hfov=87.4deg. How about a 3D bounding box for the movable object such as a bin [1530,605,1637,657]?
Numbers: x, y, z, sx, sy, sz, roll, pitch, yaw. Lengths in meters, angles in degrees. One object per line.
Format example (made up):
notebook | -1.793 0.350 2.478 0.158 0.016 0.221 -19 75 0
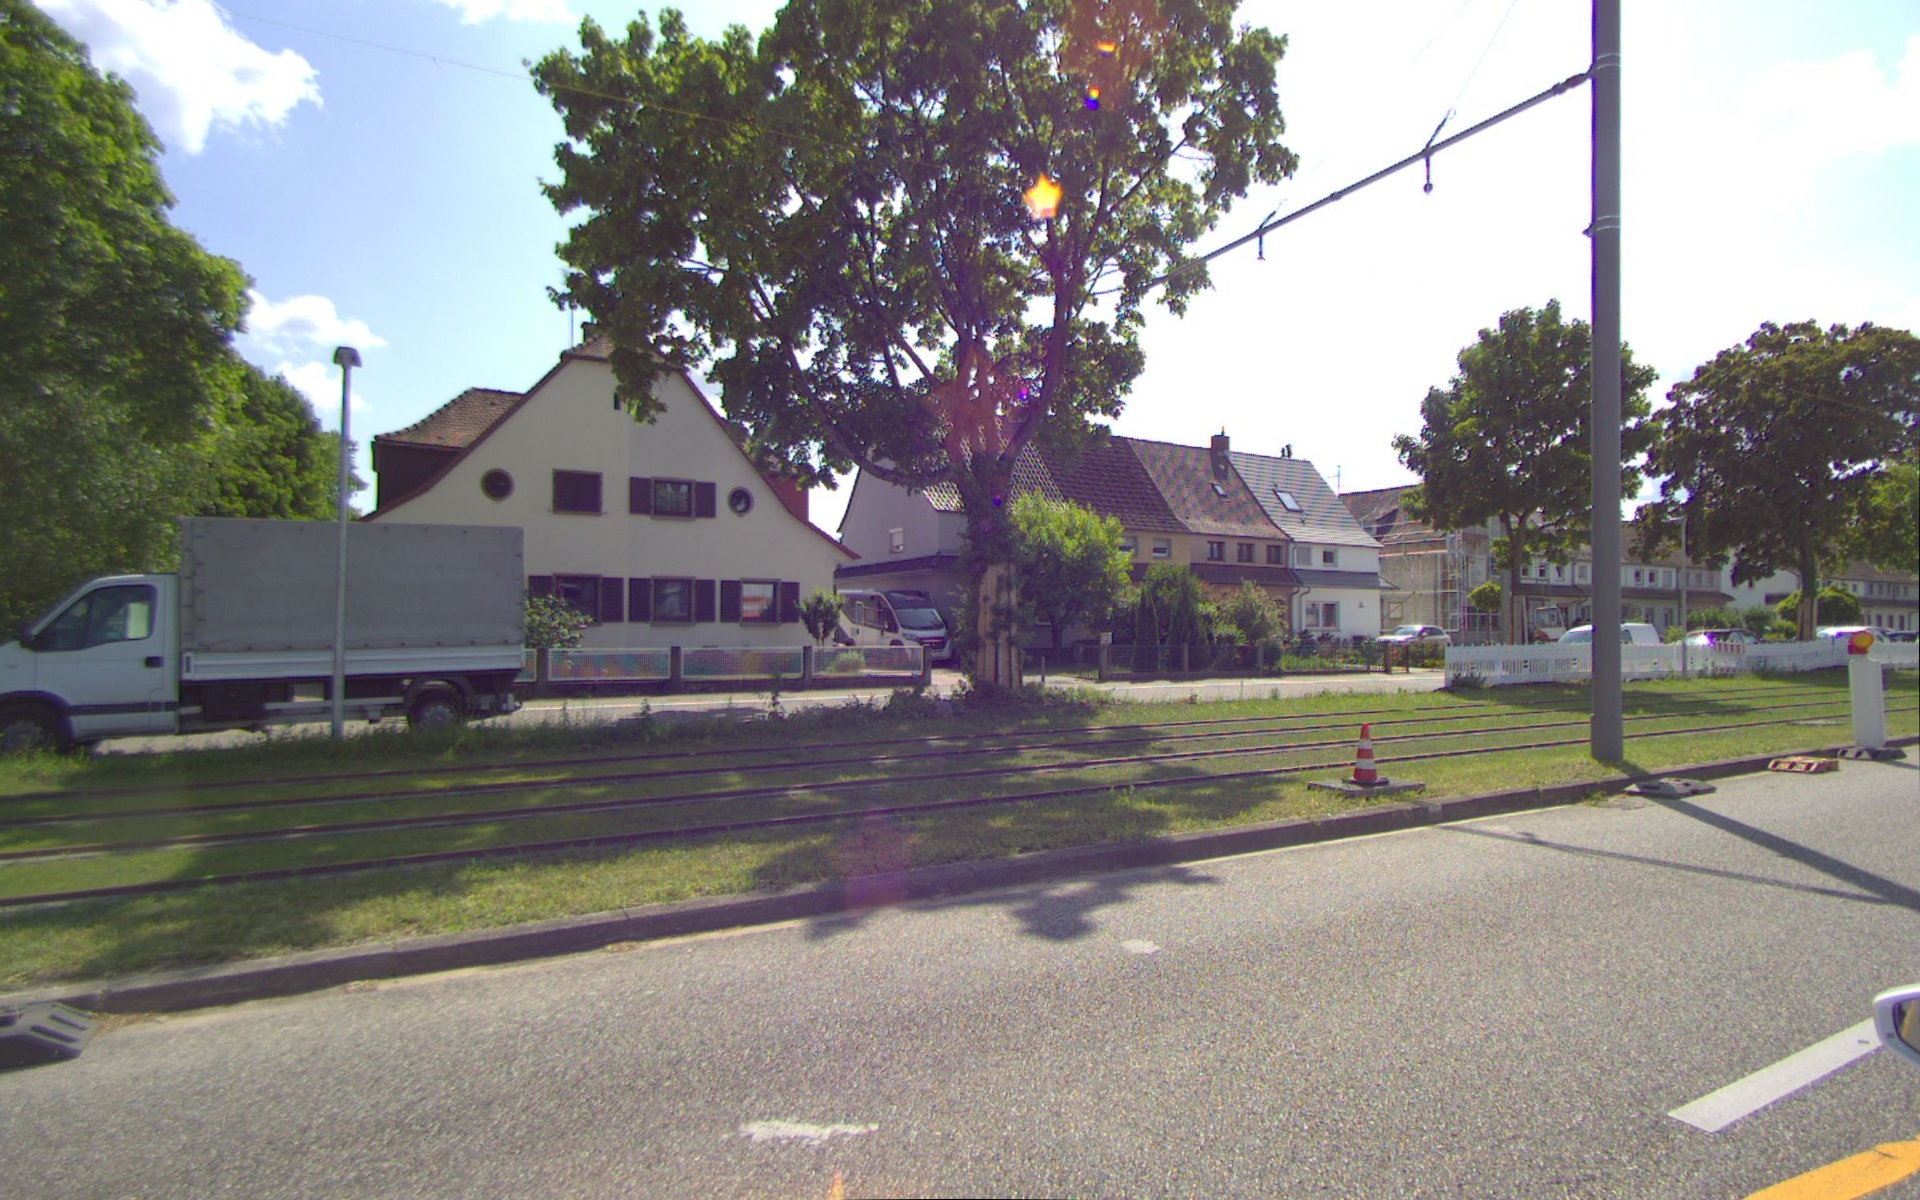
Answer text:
movable object such as a bin | 30.858 1.540 49.772 4.283 2.482 1.781 -1 -2 39

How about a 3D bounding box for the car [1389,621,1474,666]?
car | 18.836 1.752 40.148 2.995 1.744 1.677 2 -3 -30

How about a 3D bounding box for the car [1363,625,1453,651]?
car | 19.824 1.693 44.452 3.934 1.066 1.677 2 -3 -30

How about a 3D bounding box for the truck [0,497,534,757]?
truck | -8.910 0.384 12.839 6.203 2.803 1.985 1 -4 -31

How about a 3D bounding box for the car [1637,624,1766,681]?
car | 24.207 1.710 32.761 3.953 1.772 1.984 2 -3 -30

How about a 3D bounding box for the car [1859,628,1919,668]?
car | 40.233 2.055 42.603 3.953 1.627 1.984 2 -3 -30

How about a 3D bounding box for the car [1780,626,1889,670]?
car | 33.739 1.847 38.744 3.953 1.627 1.984 2 -3 -30

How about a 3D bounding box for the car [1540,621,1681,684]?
car | 19.465 1.562 30.038 3.953 1.772 1.984 2 -3 -30

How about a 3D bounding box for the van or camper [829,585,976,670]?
van or camper | -2.239 0.898 36.660 2.672 2.675 6.055 2 1 -33
